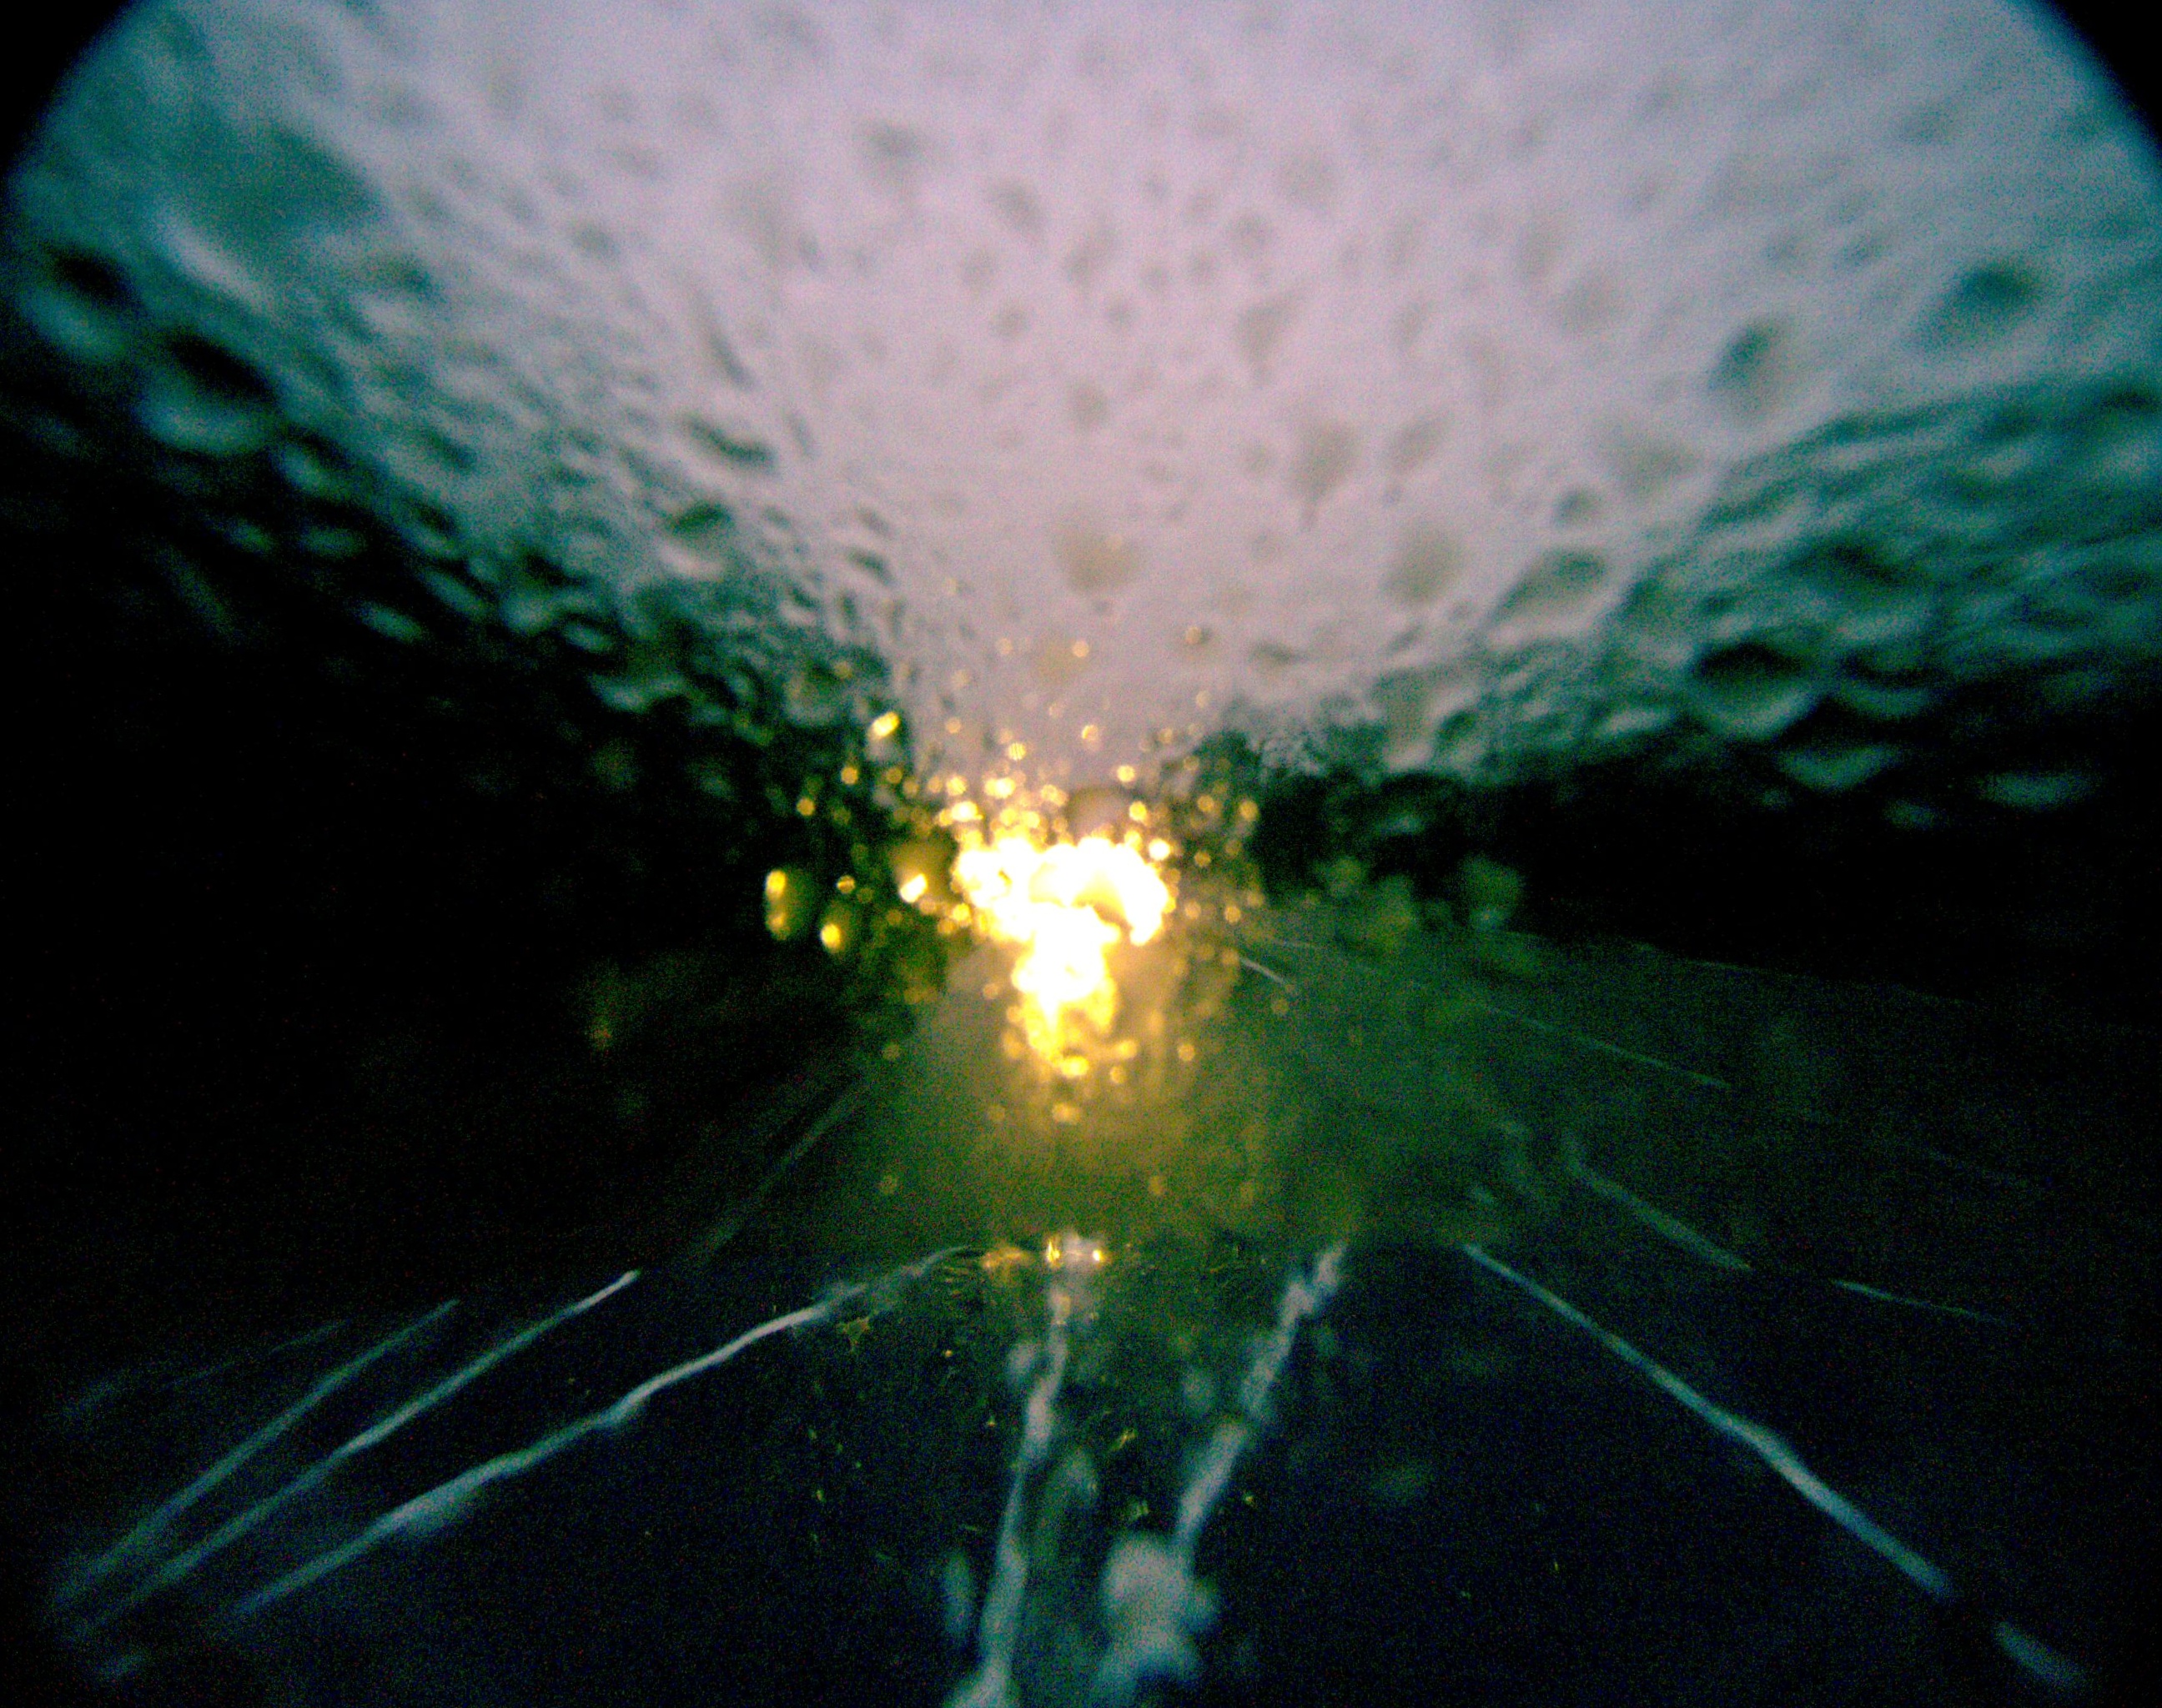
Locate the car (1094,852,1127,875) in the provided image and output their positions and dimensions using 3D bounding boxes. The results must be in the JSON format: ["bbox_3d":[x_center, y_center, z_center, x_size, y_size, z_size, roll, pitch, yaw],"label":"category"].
[{"bbox_3d":[2.014,0.634,53.368,1.769,1.488,4.101,-2,0,-5],"label":"car"}]

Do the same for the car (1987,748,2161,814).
[{"bbox_3d":[29.745,-2.099,22.157,1.790,1.625,3.939,-3,1,-8],"label":"car"}]

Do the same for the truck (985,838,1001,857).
[{"bbox_3d":[-22.420,-1.593,193.040,3.358,4.401,11.157,-3,1,-10],"label":"truck"}]

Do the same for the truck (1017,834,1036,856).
[{"bbox_3d":[-9.167,-1.511,127.288,2.656,3.576,9.834,-1,1,-7],"label":"truck"}]

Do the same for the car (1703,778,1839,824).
[{"bbox_3d":[28.548,-2.165,31.604,1.790,1.625,3.939,-3,1,-8],"label":"car"}]

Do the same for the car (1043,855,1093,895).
[{"bbox_3d":[-0.571,0.818,31.129,1.850,1.429,4.243,-2,1,-2],"label":"car"}]

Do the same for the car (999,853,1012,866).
[{"bbox_3d":[-11.115,0.752,112.199,1.702,1.721,3.997,-3,1,-7],"label":"car"}]
